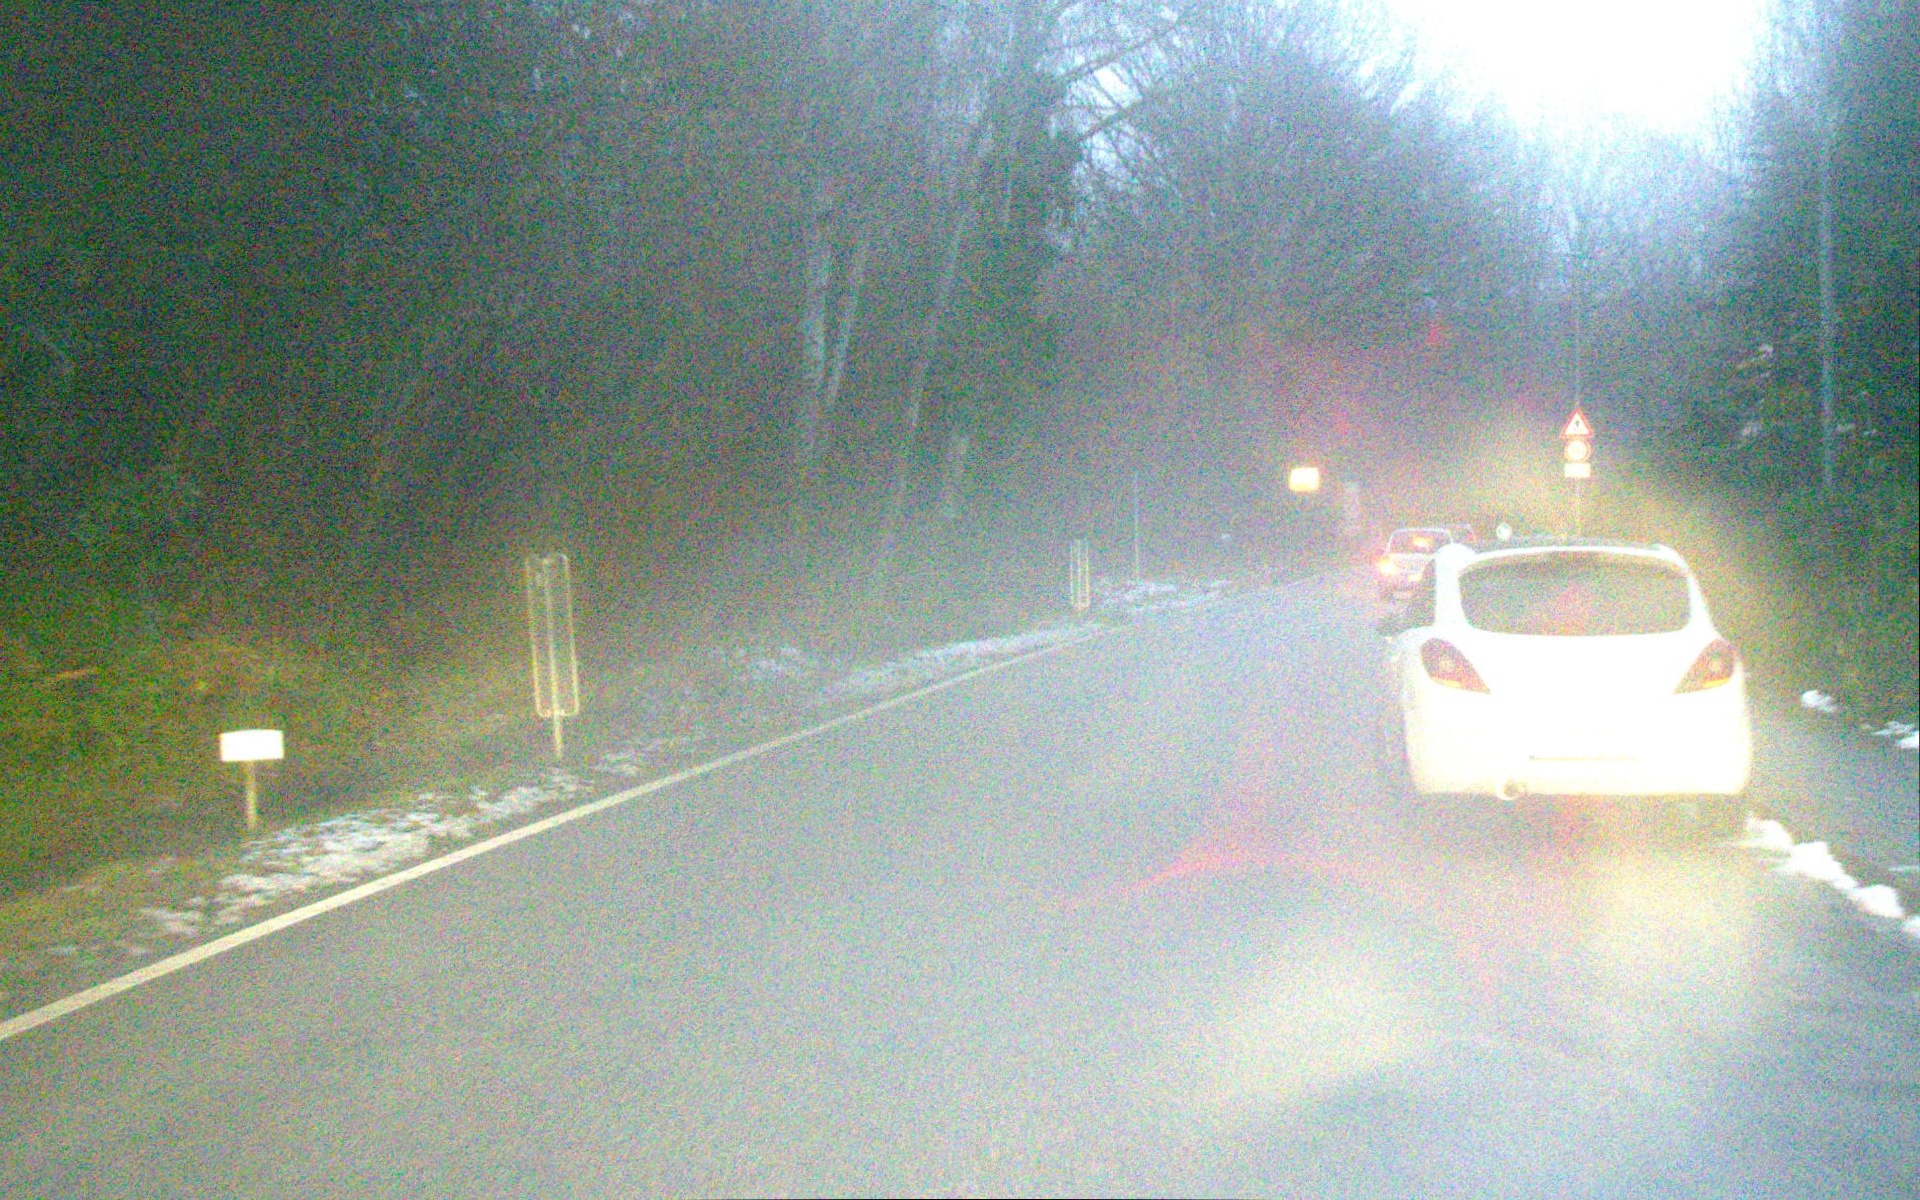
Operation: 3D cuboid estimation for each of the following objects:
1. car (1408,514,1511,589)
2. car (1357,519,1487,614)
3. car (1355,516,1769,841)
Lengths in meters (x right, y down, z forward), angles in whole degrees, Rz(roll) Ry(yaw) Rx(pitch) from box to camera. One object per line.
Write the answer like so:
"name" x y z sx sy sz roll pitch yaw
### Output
"car" 12.298 -1.215 84.436 1.691 1.768 3.857 0 1 21
"car" 9.052 -0.680 67.103 1.934 1.775 3.997 0 1 16
"car" 3.053 0.341 18.143 1.704 1.501 4.024 1 1 4
